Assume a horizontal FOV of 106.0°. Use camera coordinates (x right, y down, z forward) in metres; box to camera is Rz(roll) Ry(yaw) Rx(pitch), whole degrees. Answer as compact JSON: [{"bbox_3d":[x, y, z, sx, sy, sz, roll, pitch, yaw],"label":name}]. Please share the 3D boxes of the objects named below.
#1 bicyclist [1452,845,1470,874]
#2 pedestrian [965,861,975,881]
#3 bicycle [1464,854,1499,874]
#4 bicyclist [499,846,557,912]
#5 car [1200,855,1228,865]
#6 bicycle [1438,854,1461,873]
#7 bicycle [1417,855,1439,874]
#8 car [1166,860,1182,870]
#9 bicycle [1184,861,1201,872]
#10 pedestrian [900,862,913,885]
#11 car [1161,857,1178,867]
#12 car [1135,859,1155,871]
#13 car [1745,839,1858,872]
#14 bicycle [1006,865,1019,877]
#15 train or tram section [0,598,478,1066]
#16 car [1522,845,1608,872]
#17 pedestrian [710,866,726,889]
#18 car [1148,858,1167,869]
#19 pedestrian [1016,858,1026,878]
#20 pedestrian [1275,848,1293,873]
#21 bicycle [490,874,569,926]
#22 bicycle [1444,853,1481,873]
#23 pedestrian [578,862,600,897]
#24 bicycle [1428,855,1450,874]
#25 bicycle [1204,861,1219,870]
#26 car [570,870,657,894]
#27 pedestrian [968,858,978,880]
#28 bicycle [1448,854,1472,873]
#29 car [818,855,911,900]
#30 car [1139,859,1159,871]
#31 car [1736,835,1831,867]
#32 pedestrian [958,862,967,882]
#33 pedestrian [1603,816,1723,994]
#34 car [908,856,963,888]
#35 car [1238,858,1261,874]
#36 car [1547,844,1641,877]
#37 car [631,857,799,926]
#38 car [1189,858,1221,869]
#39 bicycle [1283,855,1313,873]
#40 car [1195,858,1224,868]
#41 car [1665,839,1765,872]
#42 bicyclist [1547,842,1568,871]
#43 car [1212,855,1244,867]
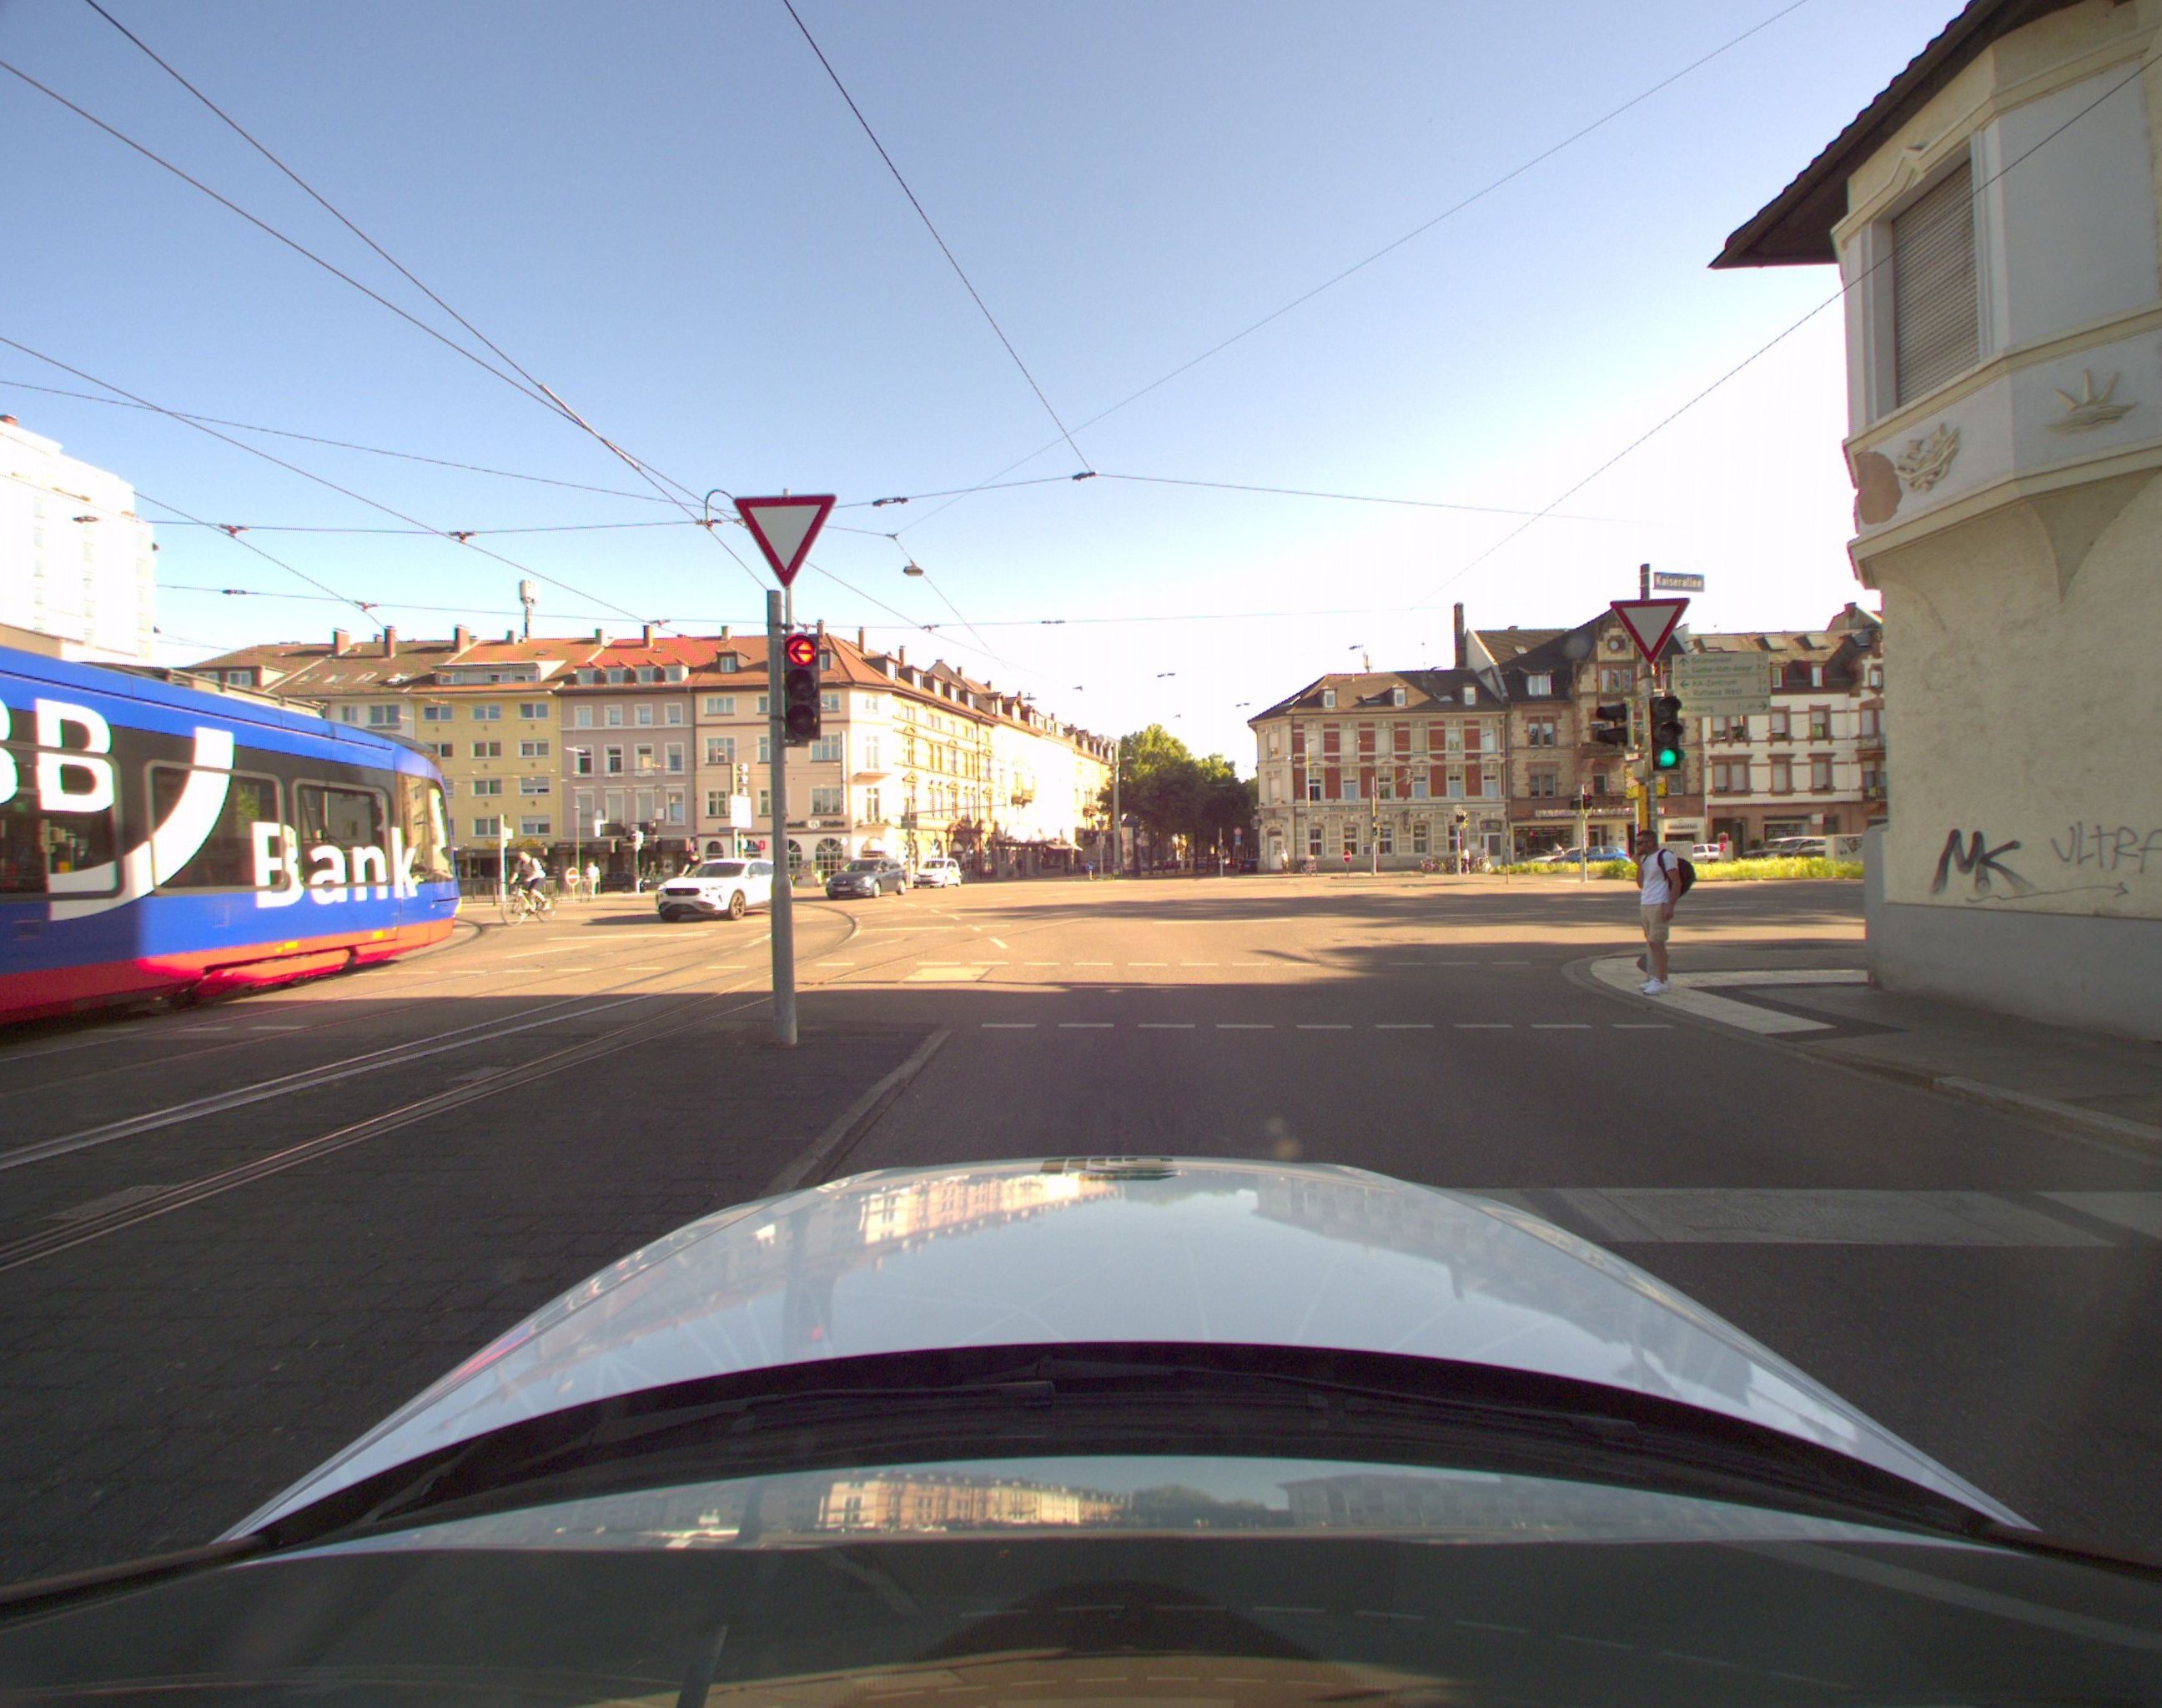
[{"bbox_3d":[23.569,0.351,50.521,0.869,1.764,0.602,-1,0,4],"label":"bicyclist"},{"bbox_3d":[-9.080,1.391,66.755,0.546,1.642,0.636,-2,0,19],"label":"pedestrian"},{"bbox_3d":[25.742,0.637,52.319,1.961,1.191,0.677,-1,0,-10],"label":"bicycle"},{"bbox_3d":[-13.661,0.601,20.137,0.712,1.559,0.987,-1,0,2],"label":"bicyclist"},{"bbox_3d":[21.895,0.973,134.121,3.949,1.545,2.012,-2,0,30],"label":"car"},{"bbox_3d":[23.845,0.621,52.771,0.674,1.191,1.969,-1,0,3],"label":"bicycle"},{"bbox_3d":[22.495,0.644,52.777,0.674,1.191,1.969,-1,0,3],"label":"bicycle"},{"bbox_3d":[15.553,1.876,136.358,1.978,1.497,4.051,-2,0,16],"label":"car"},{"bbox_3d":[11.329,1.282,82.654,0.586,1.067,1.928,-1,0,-34],"label":"bicycle"},{"bbox_3d":[-12.362,1.372,57.678,0.626,1.642,0.554,-2,0,15],"label":"pedestrian"},{"bbox_3d":[14.389,1.327,131.848,1.978,1.497,4.051,-2,0,16],"label":"car"},{"bbox_3d":[8.928,1.551,112.848,1.978,1.497,4.051,-2,0,16],"label":"car"},{"bbox_3d":[39.508,0.067,44.714,4.456,1.668,1.955,-1,0,1],"label":"car"},{"bbox_3d":[-6.712,1.673,79.879,0.491,1.067,1.778,-2,0,18],"label":"bicycle"},{"bbox_3d":[-10.047,-0.133,6.958,3.058,3.613,12.064,-1,0,-12],"label":"train or tram section"},{"bbox_3d":[28.508,0.258,48.033,3.973,1.412,1.846,-1,0,1],"label":"car"},{"bbox_3d":[-24.655,1.601,55.363,0.652,1.524,0.698,-2,0,17],"label":"pedestrian"},{"bbox_3d":[11.511,1.448,122.515,1.978,1.497,4.051,-2,0,16],"label":"car"},{"bbox_3d":[-5.808,1.387,79.092,0.676,1.908,0.636,-2,0,18],"label":"pedestrian"},{"bbox_3d":[14.085,0.448,56.514,0.722,1.669,0.928,-1,-1,-42],"label":"pedestrian"},{"bbox_3d":[-13.572,1.098,20.128,0.483,1.166,2.057,-1,0,2],"label":"bicycle"},{"bbox_3d":[23.638,0.582,50.518,1.952,1.191,0.602,-2,0,4],"label":"bicycle"},{"bbox_3d":[-23.208,1.210,38.426,0.731,1.627,0.663,-1,-1,-44],"label":"pedestrian"},{"bbox_3d":[23.196,0.654,52.786,0.674,1.191,1.969,-1,0,3],"label":"bicycle"},{"bbox_3d":[15.915,1.354,99.081,0.586,1.067,1.928,-1,0,-34],"label":"bicycle"},{"bbox_3d":[-30.704,1.833,53.539,4.626,1.440,1.743,-1,-1,-1],"label":"car"},{"bbox_3d":[-9.008,1.229,67.885,0.575,1.836,0.636,-2,0,18],"label":"pedestrian"},{"bbox_3d":[24.518,0.624,52.747,0.674,1.191,1.969,-1,0,3],"label":"bicycle"},{"bbox_3d":[-7.911,0.795,30.259,1.765,1.497,4.581,-2,0,6],"label":"car"},{"bbox_3d":[9.827,1.581,117.066,1.978,1.497,4.051,-2,0,16],"label":"car"},{"bbox_3d":[45.233,-0.192,52.509,4.388,1.965,1.955,-1,0,1],"label":"car"},{"bbox_3d":[-9.711,1.470,66.791,0.546,1.642,0.540,-2,0,19],"label":"pedestrian"},{"bbox_3d":[6.111,0.515,8.569,0.691,1.740,0.668,-4,-1,-28],"label":"pedestrian"},{"bbox_3d":[-7.341,0.883,41.439,1.708,1.497,3.591,-2,0,8],"label":"car"},{"bbox_3d":[17.011,1.146,82.176,1.978,1.497,4.051,-2,0,16],"label":"car"},{"bbox_3d":[28.316,0.336,45.040,3.973,1.668,1.955,-1,0,1],"label":"car"},{"bbox_3d":[-9.064,0.855,20.656,1.984,1.497,4.352,-2,0,4],"label":"car"},{"bbox_3d":[17.526,1.336,115.436,3.949,1.545,2.012,-2,0,30],"label":"car"},{"bbox_3d":[15.185,0.685,56.970,1.950,1.191,0.547,-2,0,6],"label":"bicycle"},{"bbox_3d":[20.196,1.441,128.020,3.949,1.545,2.012,-2,0,30],"label":"car"},{"bbox_3d":[34.803,0.090,44.775,3.973,1.668,1.955,-1,0,1],"label":"car"},{"bbox_3d":[29.811,0.150,50.932,0.901,1.764,0.601,-1,0,-3],"label":"bicyclist"},{"bbox_3d":[20.963,1.001,116.214,3.948,1.545,2.013,-2,0,32],"label":"car"}]
